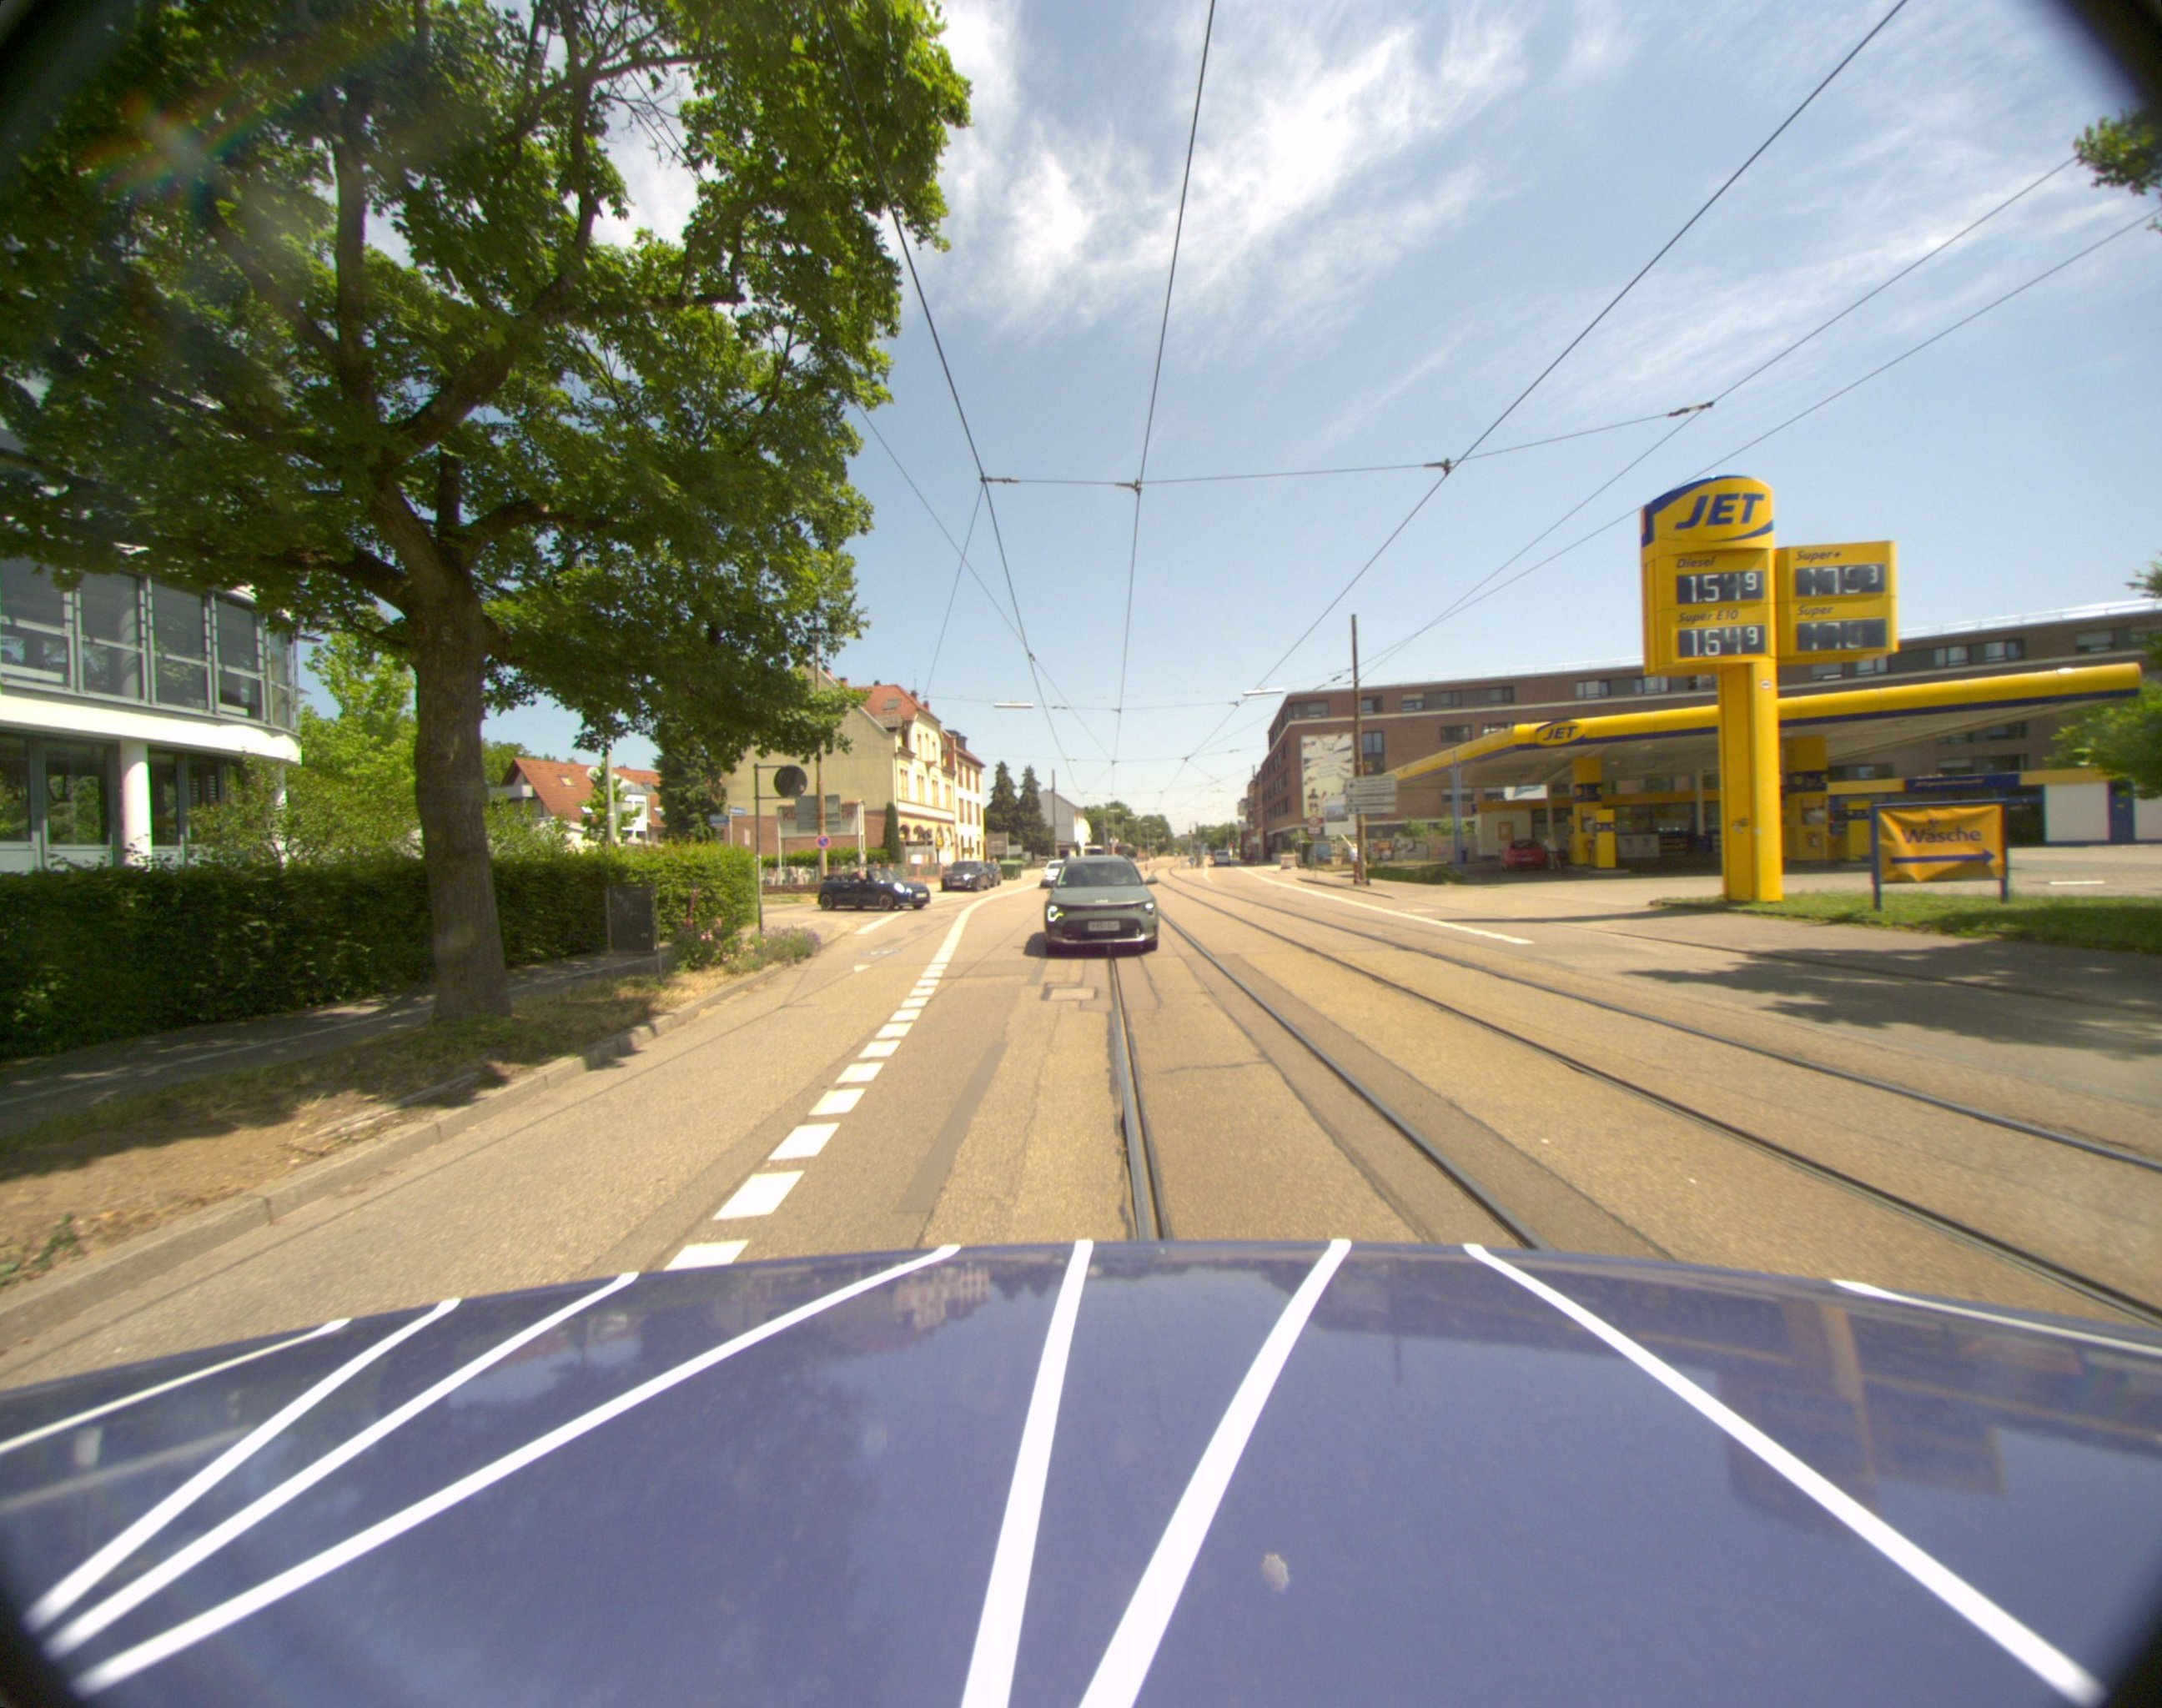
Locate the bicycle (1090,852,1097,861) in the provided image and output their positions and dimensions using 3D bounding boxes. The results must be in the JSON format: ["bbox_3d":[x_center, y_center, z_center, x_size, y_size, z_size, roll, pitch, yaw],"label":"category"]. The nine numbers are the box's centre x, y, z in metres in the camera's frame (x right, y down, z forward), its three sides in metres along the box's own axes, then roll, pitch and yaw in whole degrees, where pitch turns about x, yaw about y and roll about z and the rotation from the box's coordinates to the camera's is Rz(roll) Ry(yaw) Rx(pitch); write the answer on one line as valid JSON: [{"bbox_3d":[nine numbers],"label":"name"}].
[{"bbox_3d":[2.509,0.459,150.378,0.799,1.889,1.961,0,0,16],"label":"bicycle"}]

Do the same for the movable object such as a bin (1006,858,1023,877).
[{"bbox_3d":[-5.075,1.012,58.030,1.250,1.446,1.057,0,1,-2],"label":"movable object such as a bin"}]

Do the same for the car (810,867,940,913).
[{"bbox_3d":[-6.767,1.177,24.936,3.917,1.364,1.706,-2,1,26],"label":"car"}]

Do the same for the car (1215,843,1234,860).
[{"bbox_3d":[16.627,-0.327,88.258,1.997,1.789,4.555,-4,1,10],"label":"car"}]

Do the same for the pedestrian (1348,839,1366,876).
[{"bbox_3d":[13.035,0.168,35.934,0.626,1.681,0.723,-2,1,11],"label":"pedestrian"}]

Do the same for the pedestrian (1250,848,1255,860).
[{"bbox_3d":[24.375,-0.006,108.107,0.604,1.586,0.715,-2,1,7],"label":"pedestrian"}]

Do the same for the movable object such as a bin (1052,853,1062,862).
[{"bbox_3d":[-4.102,0.527,128.680,1.389,1.472,1.152,-2,0,10],"label":"movable object such as a bin"}]

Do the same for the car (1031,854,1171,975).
[{"bbox_3d":[0.277,0.819,12.519,1.827,1.546,4.487,-2,0,0],"label":"car"}]

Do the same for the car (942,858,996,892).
[{"bbox_3d":[-6.048,1.074,41.642,1.929,1.683,5.082,-1,0,3],"label":"car"}]

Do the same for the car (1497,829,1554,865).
[{"bbox_3d":[20.935,-0.307,35.921,1.827,1.495,4.206,-4,-2,25],"label":"car"}]

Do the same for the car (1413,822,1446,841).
[{"bbox_3d":[29.865,-1.900,65.232,1.734,1.460,4.004,-3,0,14],"label":"car"}]

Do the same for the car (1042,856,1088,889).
[{"bbox_3d":[-0.831,0.972,41.828,1.748,1.546,4.489,-4,0,8],"label":"car"}]

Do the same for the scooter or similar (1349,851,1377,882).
[{"bbox_3d":[11.279,0.493,30.465,0.520,1.193,1.376,-4,0,-1],"label":"scooter or similar"}]

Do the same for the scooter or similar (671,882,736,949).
[{"bbox_3d":[-7.511,1.212,15.146,0.326,1.215,1.153,-3,0,23],"label":"scooter or similar"}]

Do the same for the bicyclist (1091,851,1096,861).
[{"bbox_3d":[2.470,0.392,150.229,0.790,1.864,0.888,0,1,16],"label":"bicyclist"}]

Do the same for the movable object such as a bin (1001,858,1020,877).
[{"bbox_3d":[-5.283,1.001,56.936,1.327,1.446,1.057,0,1,-2],"label":"movable object such as a bin"}]

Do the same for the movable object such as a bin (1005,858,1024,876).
[{"bbox_3d":[-5.141,1.002,59.139,1.395,1.446,1.139,0,0,-2],"label":"movable object such as a bin"}]

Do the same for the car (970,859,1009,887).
[{"bbox_3d":[-5.753,1.162,48.201,1.776,1.539,4.467,-1,1,2],"label":"car"}]

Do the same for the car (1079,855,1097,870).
[{"bbox_3d":[0.802,0.917,85.174,1.748,1.546,4.488,-4,0,4],"label":"car"}]
